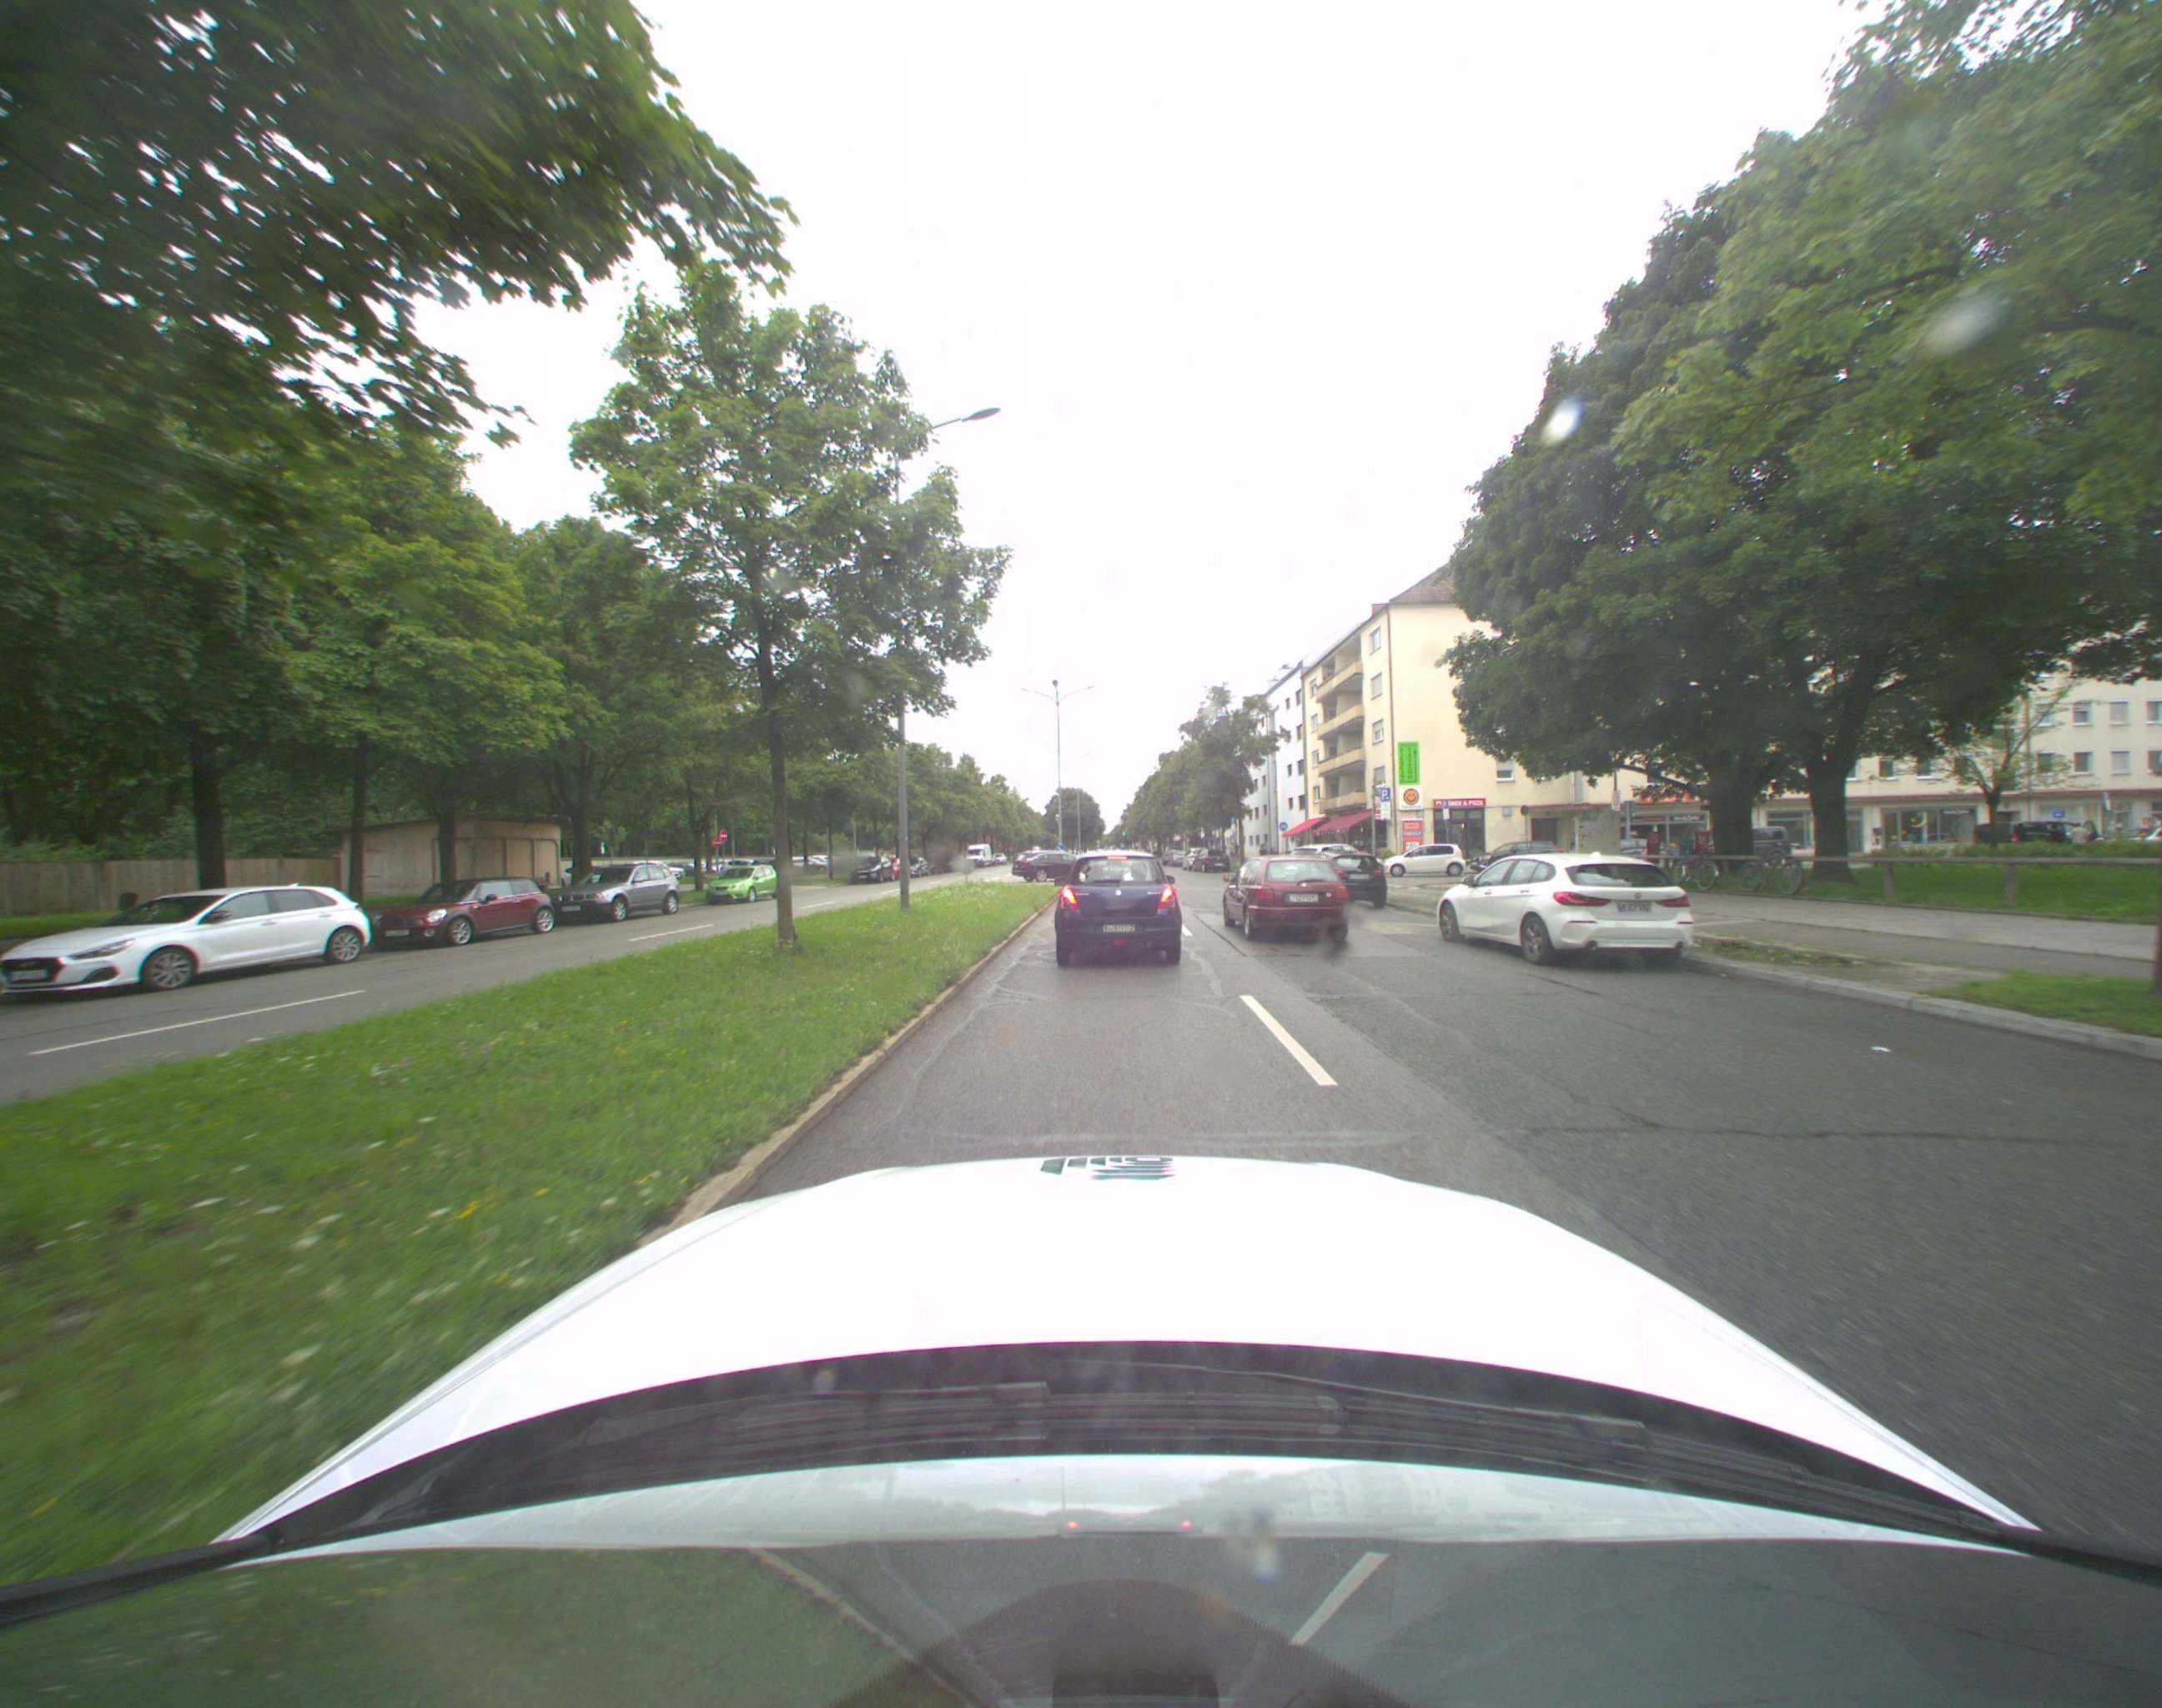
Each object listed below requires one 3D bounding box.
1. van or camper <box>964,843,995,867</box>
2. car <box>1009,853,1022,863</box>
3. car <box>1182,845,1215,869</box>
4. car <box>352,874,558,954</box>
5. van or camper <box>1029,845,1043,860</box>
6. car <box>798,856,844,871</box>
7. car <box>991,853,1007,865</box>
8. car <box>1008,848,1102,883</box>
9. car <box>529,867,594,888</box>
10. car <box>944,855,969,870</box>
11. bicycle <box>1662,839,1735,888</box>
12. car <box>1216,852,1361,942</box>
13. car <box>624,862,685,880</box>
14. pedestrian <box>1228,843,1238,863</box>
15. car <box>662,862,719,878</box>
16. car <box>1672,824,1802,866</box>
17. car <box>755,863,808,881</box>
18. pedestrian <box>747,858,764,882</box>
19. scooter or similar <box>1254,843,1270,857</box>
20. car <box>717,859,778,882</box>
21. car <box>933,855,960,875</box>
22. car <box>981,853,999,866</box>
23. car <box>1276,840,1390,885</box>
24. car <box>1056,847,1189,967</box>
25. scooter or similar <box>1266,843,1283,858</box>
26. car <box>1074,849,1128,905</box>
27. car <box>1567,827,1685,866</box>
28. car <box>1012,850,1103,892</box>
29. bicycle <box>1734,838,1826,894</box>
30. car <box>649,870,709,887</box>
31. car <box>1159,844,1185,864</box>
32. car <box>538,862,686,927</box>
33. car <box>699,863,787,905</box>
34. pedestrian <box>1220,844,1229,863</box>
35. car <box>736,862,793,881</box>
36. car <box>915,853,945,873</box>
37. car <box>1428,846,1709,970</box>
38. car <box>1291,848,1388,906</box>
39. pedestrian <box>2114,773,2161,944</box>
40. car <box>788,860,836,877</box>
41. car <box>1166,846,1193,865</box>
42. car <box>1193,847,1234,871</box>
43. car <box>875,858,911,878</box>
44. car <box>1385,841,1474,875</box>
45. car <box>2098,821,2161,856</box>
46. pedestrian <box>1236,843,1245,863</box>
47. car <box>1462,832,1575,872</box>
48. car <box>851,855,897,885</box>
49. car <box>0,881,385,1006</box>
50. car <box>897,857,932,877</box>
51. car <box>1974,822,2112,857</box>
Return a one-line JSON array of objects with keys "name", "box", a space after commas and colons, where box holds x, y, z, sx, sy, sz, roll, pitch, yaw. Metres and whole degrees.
[{"name": "van or camper", "box": [-11.306, 0.094, 91.203, 2.108, 2.482, 7.454, -1, 0, 3]}, {"name": "car", "box": [-10.427, 0.613, 129.735, 1.626, 1.583, 3.880, -1, 0, 1]}, {"name": "car", "box": [8.318, 0.192, 57.966, 1.785, 1.558, 4.225, -2, 0, 1]}, {"name": "car", "box": [-13.829, 1.259, 18.288, 1.584, 1.397, 3.634, -3, 0, 4]}, {"name": "van or camper", "box": [-10.370, -0.346, 188.000, 2.552, 3.296, 6.939, -1, 0, 1]}, {"name": "car", "box": [-24.849, 0.906, 77.796, 3.858, 1.445, 1.670, -1, 0, -4]}, {"name": "car", "box": [-10.645, 0.644, 106.287, 1.626, 1.583, 3.880, -1, 0, 1]}, {"name": "car", "box": [-1.261, 0.526, 39.262, 4.136, 1.468, 1.827, -2, 0, -20]}, {"name": "car", "box": [-31.785, 1.427, 49.787, 4.363, 1.201, 1.683, -1, 0, 33]}, {"name": "car", "box": [-11.723, 0.778, 77.019, 1.626, 1.431, 3.880, -1, 0, 1]}, {"name": "bicycle", "box": [14.623, 0.216, 19.336, 0.387, 1.105, 1.855, -1, 0, 3]}, {"name": "car", "box": [3.541, 0.663, 14.574, 1.676, 1.383, 3.920, 0, 0, 1]}, {"name": "car", "box": [-37.138, 1.470, 70.958, 4.488, 1.476, 1.674, -1, 0, 2]}, {"name": "pedestrian", "box": [15.557, -0.137, 83.530, 0.791, 2.013, 1.007, -1, 0, 2]}, {"name": "car", "box": [-37.237, 1.486, 77.724, 4.672, 1.445, 1.674, -1, 0, 2]}, {"name": "car", "box": [31.326, -0.436, 38.983, 4.719, 1.773, 1.872, -2, 0, 0]}, {"name": "car", "box": [-25.435, 1.522, 69.188, 3.858, 1.445, 1.670, -1, 0, -4]}, {"name": "pedestrian", "box": [-20.474, 0.997, 51.267, 0.724, 1.534, 0.721, -1, 0, 2]}, {"name": "scooter or similar", "box": [17.601, -0.426, 79.050, 1.028, 1.307, 2.757, -2, 0, 3]}, {"name": "car", "box": [-25.372, 1.254, 62.069, 3.910, 1.718, 1.670, -1, 0, -4]}, {"name": "car", "box": [-11.816, 0.927, 71.682, 1.626, 1.741, 3.880, -1, 0, 1]}, {"name": "car", "box": [-11.055, 0.662, 99.081, 1.626, 1.583, 3.880, -1, 0, 1]}, {"name": "car", "box": [10.015, 0.293, 32.347, 4.421, 1.661, 1.853, 0, 0, -31]}, {"name": "car", "box": [0.564, 0.656, 12.325, 1.676, 1.501, 3.920, -1, 0, 1]}, {"name": "scooter or similar", "box": [17.830, -0.347, 75.162, 1.028, 1.307, 2.757, -2, 0, 3]}, {"name": "car", "box": [0.572, 0.621, 23.623, 1.439, 1.483, 3.107, -1, 0, 1]}, {"name": "car", "box": [25.819, -0.351, 38.664, 4.380, 1.661, 1.871, -2, 0, -1]}, {"name": "car", "box": [-0.946, 0.611, 30.913, 1.694, 1.463, 3.694, -1, 1, -34]}, {"name": "bicycle", "box": [14.555, 0.239, 17.028, 0.380, 1.103, 1.885, -1, 0, 3]}, {"name": "car", "box": [-37.000, 2.251, 74.933, 4.672, 1.445, 1.674, -1, 0, 2]}, {"name": "car", "box": [8.393, -0.023, 75.456, 1.859, 1.682, 4.224, -2, 0, 0]}, {"name": "car", "box": [-13.662, 1.117, 24.076, 1.684, 1.586, 4.372, -3, 0, 1]}, {"name": "car", "box": [-13.357, 1.151, 32.407, 1.540, 1.409, 3.884, -3, 0, 4]}, {"name": "pedestrian", "box": [14.735, -0.054, 83.581, 0.791, 2.013, 1.007, -1, 0, 2]}, {"name": "car", "box": [-25.160, 1.386, 64.838, 3.858, 1.445, 1.670, -1, 0, -4]}, {"name": "car", "box": [-12.088, 0.708, 65.307, 1.585, 1.558, 3.880, -1, 0, 1]}, {"name": "car", "box": [6.738, 0.632, 11.851, 1.676, 1.465, 4.138, 1, 0, 1]}, {"name": "car", "box": [6.962, 0.575, 22.277, 1.611, 1.465, 3.676, 0, 0, 2]}, {"name": "pedestrian", "box": [12.275, 0.042, 8.974, 0.586, 1.890, 0.902, -2, 0, 1]}, {"name": "car", "box": [-24.602, 1.334, 74.627, 3.858, 1.445, 1.670, -1, 0, -4]}, {"name": "car", "box": [8.554, 0.104, 70.827, 1.859, 1.517, 4.224, -2, 0, 0]}, {"name": "car", "box": [8.530, 0.299, 52.781, 1.860, 1.417, 4.222, -2, 0, -1]}, {"name": "car", "box": [-12.712, 0.934, 55.137, 1.585, 1.312, 3.381, -1, 0, 1]}, {"name": "car", "box": [15.814, 0.172, 37.155, 3.521, 1.417, 1.880, -2, 0, 17]}, {"name": "car", "box": [52.507, -0.724, 39.564, 4.065, 1.661, 1.870, 0, 0, -3]}, {"name": "pedestrian", "box": [16.375, -0.145, 83.657, 0.791, 2.013, 1.007, -1, 0, 2]}, {"name": "car", "box": [20.761, -0.107, 38.735, 4.383, 1.661, 1.870, -2, 0, -3]}, {"name": "car", "box": [-12.560, 0.938, 49.558, 1.710, 1.741, 3.880, -1, 0, 1]}, {"name": "car", "box": [-14.028, 1.289, 13.205, 1.601, 1.444, 4.281, -3, 0, 2]}, {"name": "car", "box": [-12.221, 0.924, 59.866, 1.661, 1.445, 3.880, -1, 0, 1]}, {"name": "car", "box": [46.434, -0.681, 39.363, 4.723, 1.661, 1.870, 0, 0, -3]}]
